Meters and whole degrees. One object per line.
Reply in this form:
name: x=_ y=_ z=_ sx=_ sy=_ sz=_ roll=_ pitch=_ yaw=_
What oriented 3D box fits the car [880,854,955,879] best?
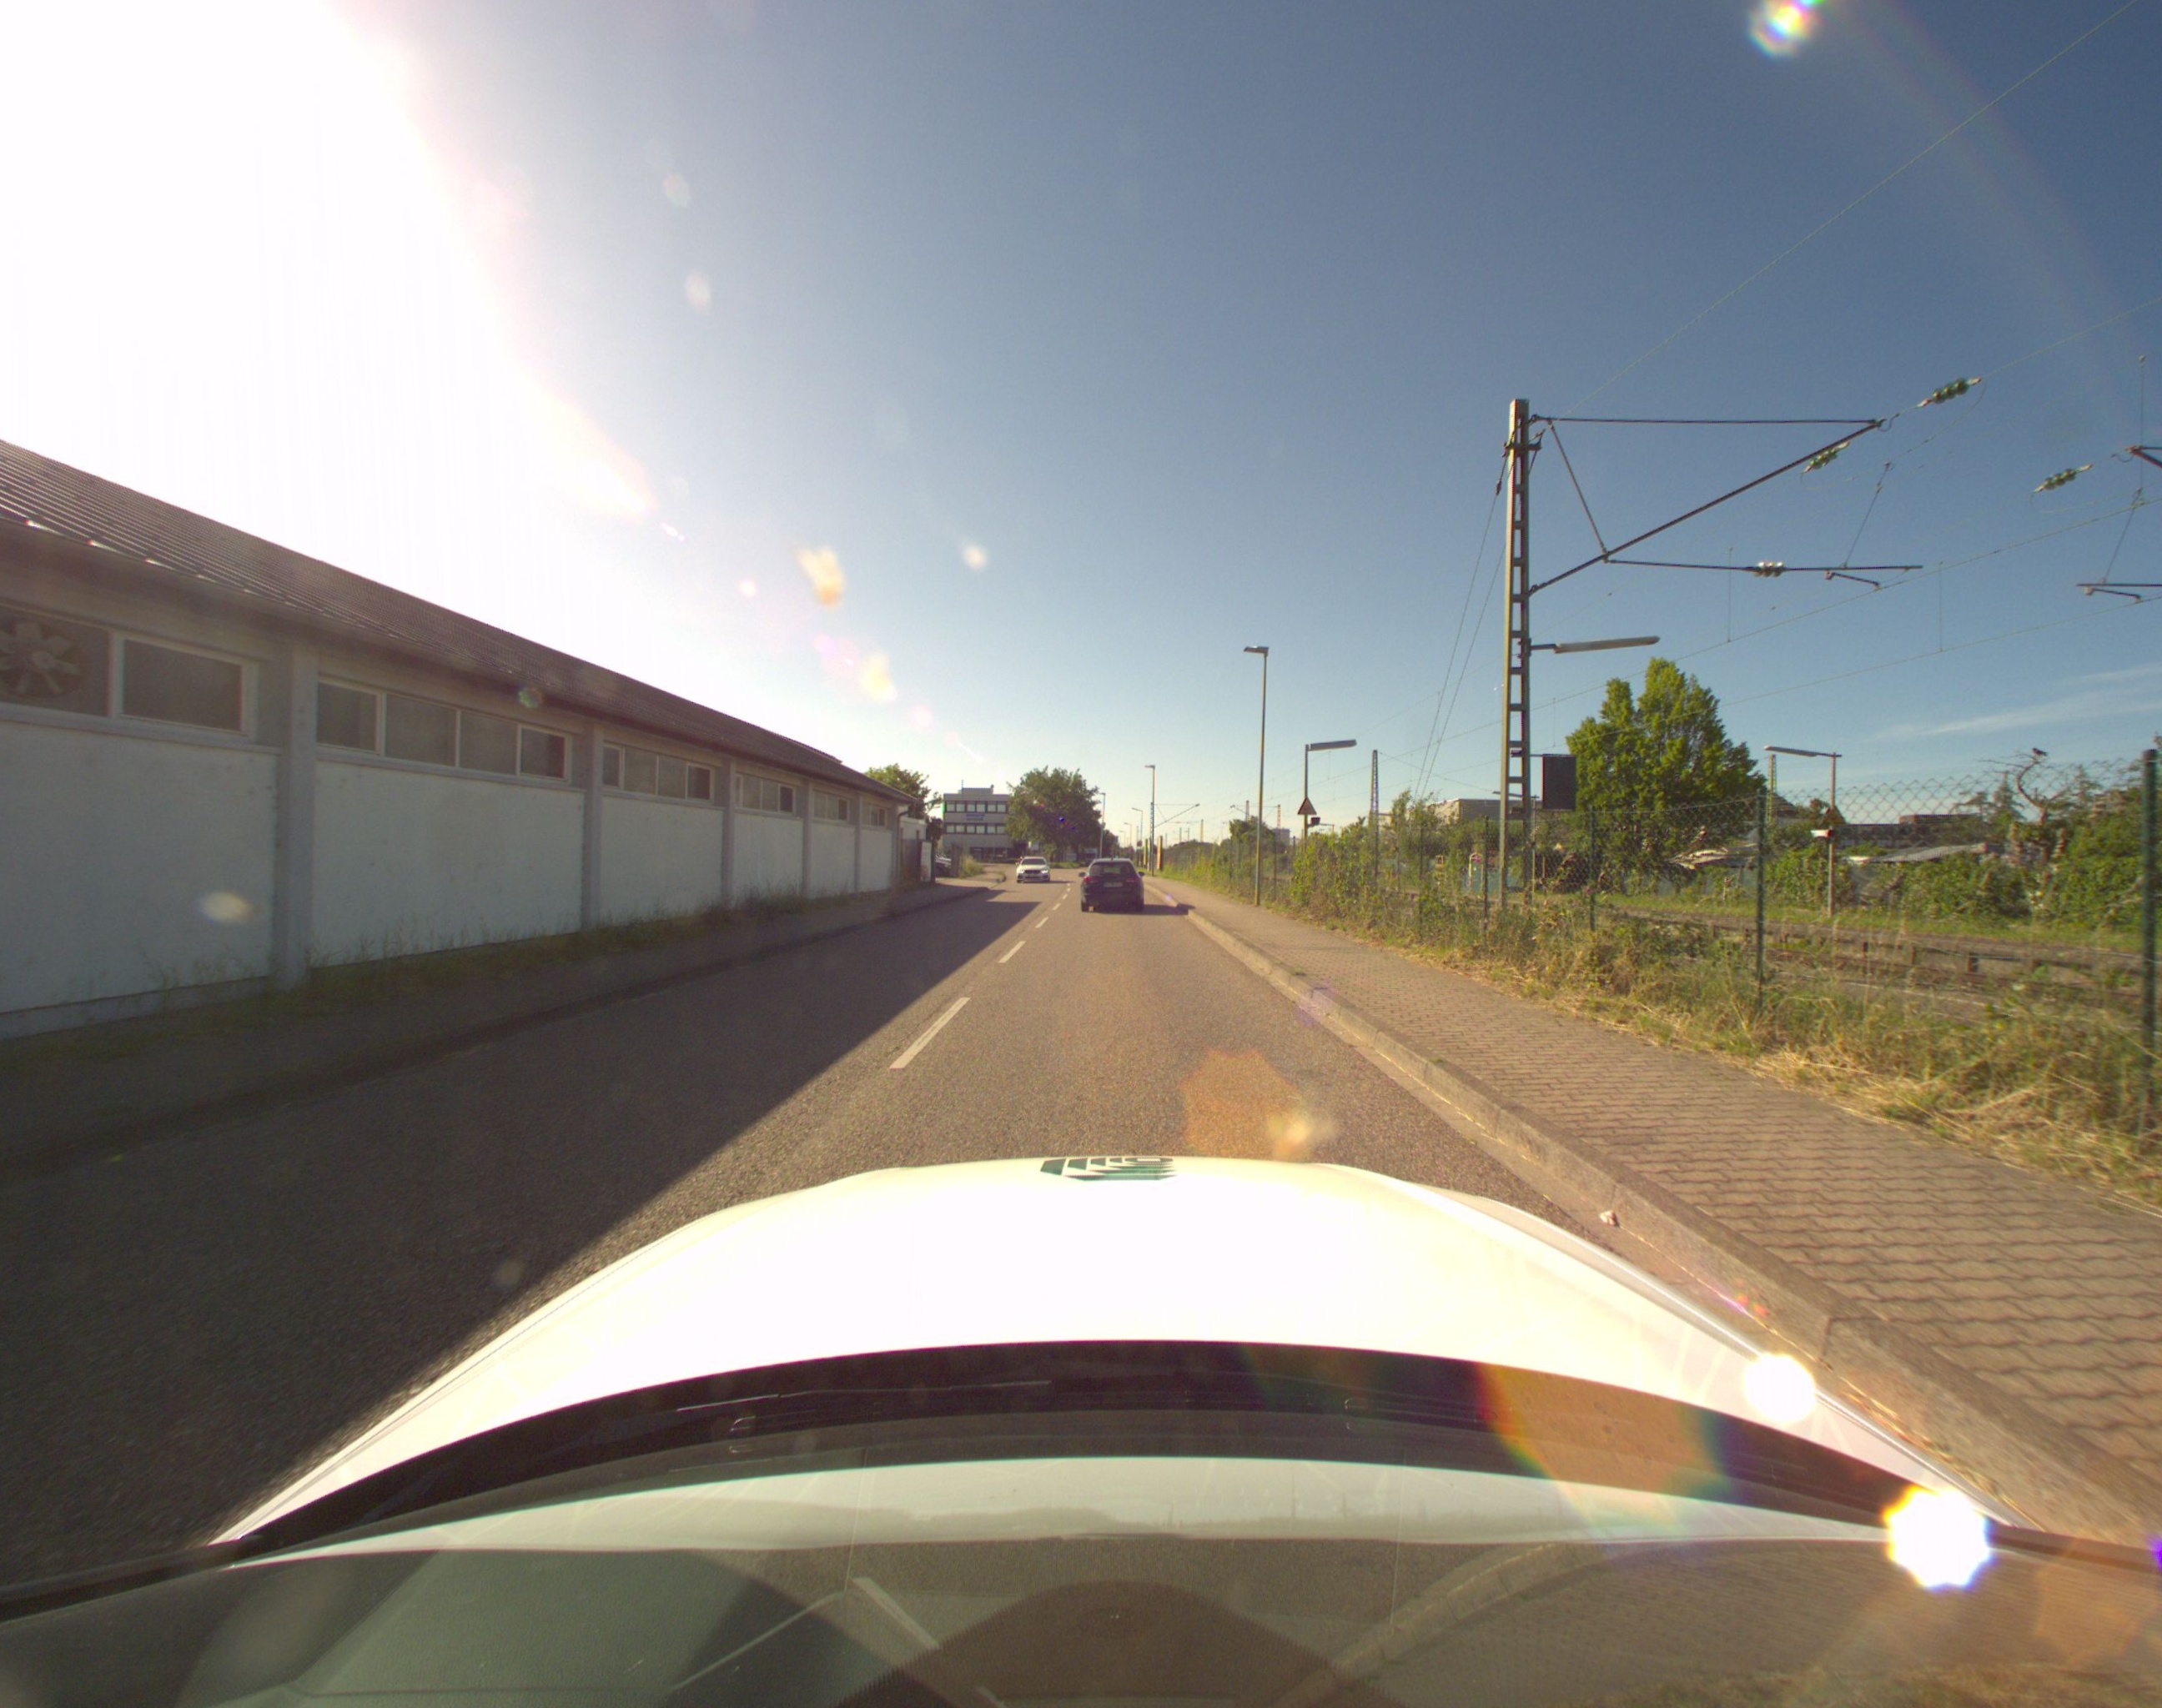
car: x=-10.012 y=0.768 z=50.092 sx=4.388 sy=1.507 sz=1.835 roll=1 pitch=0 yaw=-9

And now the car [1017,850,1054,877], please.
car: x=-2.648 y=0.537 z=47.997 sx=1.802 sy=1.478 sz=4.688 roll=-1 pitch=0 yaw=1

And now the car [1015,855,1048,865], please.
car: x=-7.692 y=0.914 z=126.188 sx=4.886 sy=1.484 sz=2.004 roll=1 pitch=1 yaw=6

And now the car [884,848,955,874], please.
car: x=-10.399 y=0.437 z=52.598 sx=4.388 sy=1.648 sz=1.835 roll=1 pitch=0 yaw=-9

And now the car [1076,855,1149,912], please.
car: x=0.887 y=0.791 z=23.923 sx=1.935 sy=1.489 sz=4.566 roll=-1 pitch=0 yaw=1

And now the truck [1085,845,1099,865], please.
truck: x=2.187 y=0.245 z=170.525 sx=2.605 sy=3.885 sz=13.529 roll=1 pitch=0 yaw=0
